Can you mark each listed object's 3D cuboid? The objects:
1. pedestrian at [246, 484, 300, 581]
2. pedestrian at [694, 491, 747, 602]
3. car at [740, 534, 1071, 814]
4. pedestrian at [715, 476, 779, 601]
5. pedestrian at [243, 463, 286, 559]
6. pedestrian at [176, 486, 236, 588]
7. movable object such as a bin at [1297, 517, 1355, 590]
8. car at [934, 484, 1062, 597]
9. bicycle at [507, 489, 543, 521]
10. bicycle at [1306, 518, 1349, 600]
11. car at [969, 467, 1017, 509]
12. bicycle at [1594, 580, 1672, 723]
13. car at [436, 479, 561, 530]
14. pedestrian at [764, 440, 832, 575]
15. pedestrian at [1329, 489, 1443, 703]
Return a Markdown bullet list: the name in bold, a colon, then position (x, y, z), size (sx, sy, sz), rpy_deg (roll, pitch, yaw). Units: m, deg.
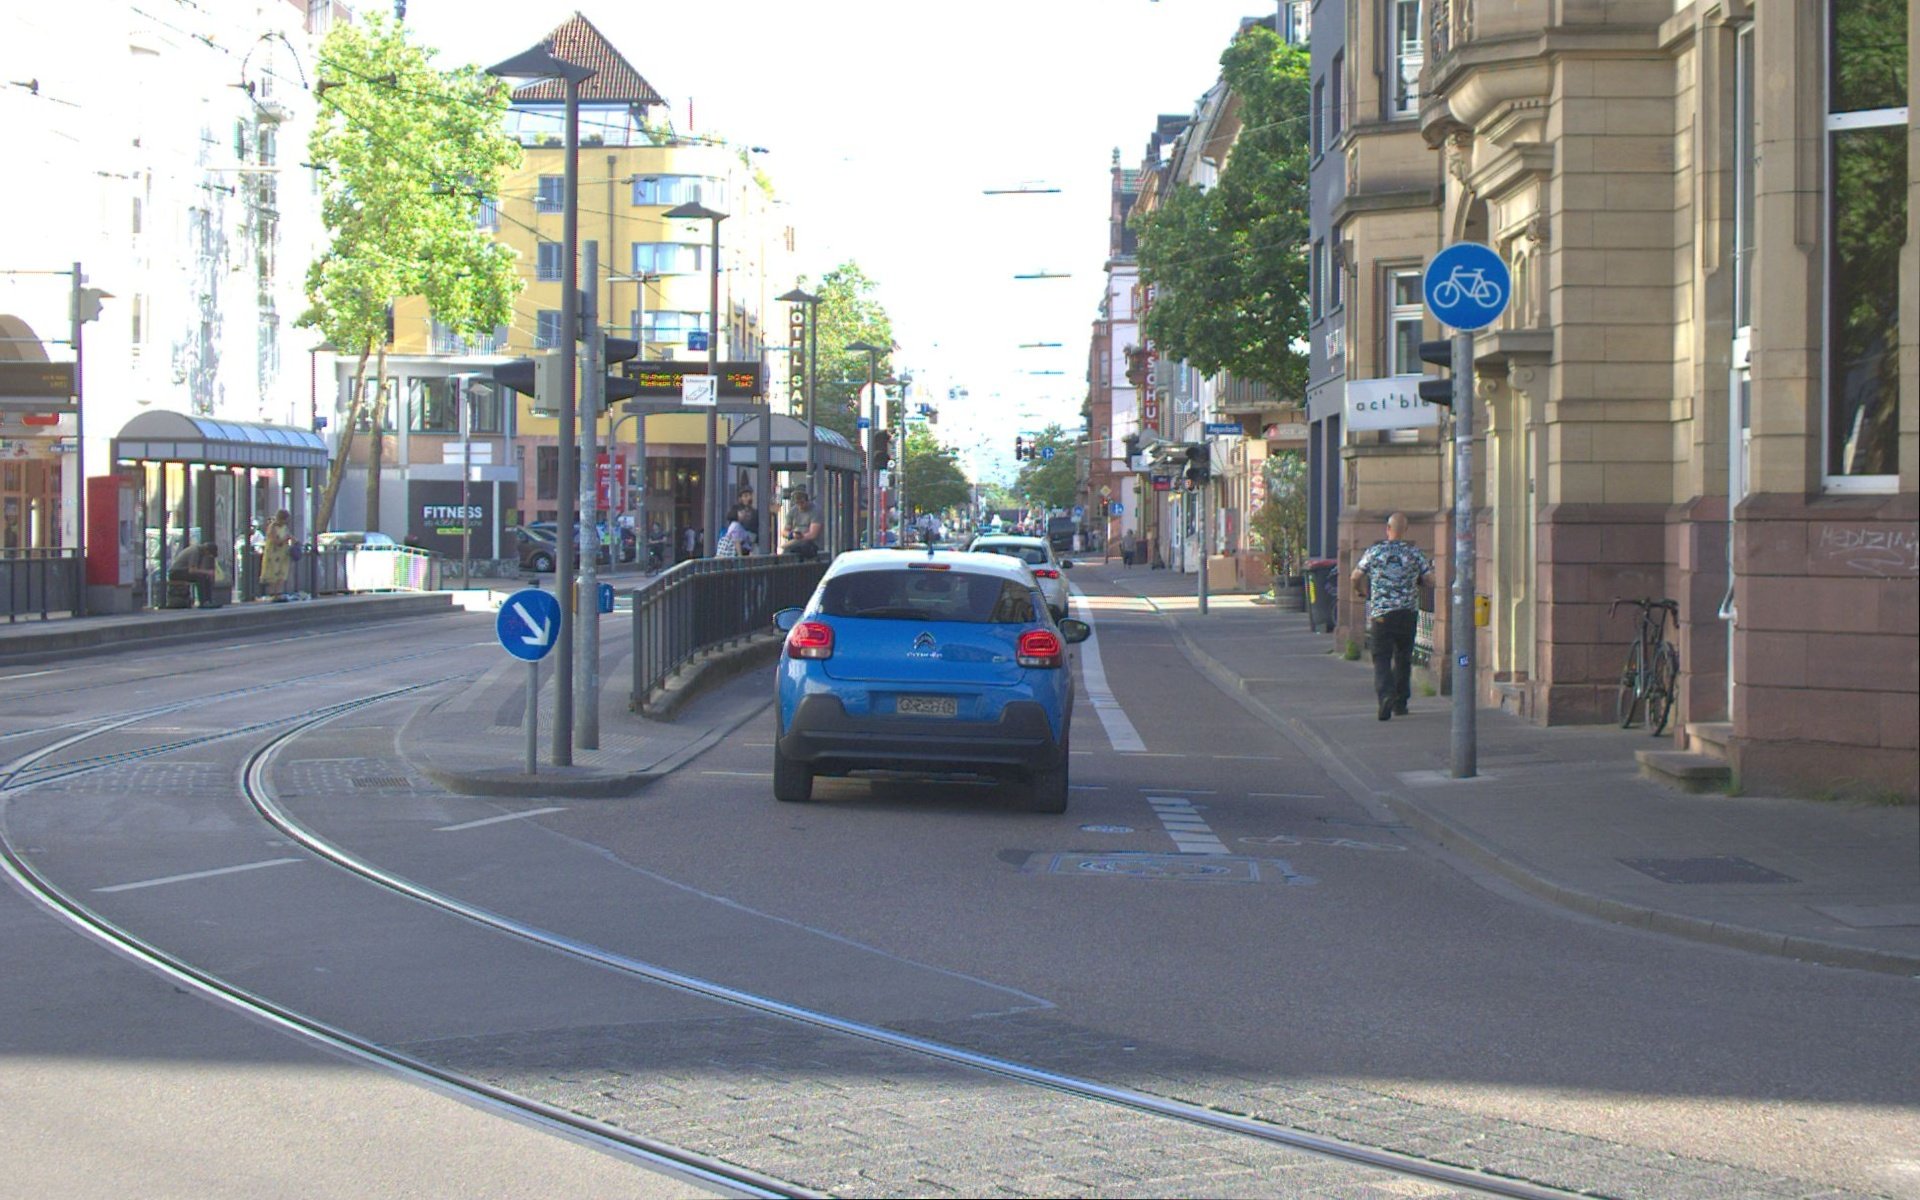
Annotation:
- **pedestrian**: position (-11.210, -1.102, 56.117), size (0.731, 1.553, 0.743), rpy_deg (1, 2, 0)
- **pedestrian**: position (-3.377, -0.755, 48.529), size (0.586, 1.556, 0.469), rpy_deg (1, 2, 37)
- **car**: position (-0.251, 0.375, 20.801), size (1.781, 1.446, 3.654), rpy_deg (2, 2, 2)
- **pedestrian**: position (-3.044, -0.879, 49.045), size (0.718, 1.771, 0.564), rpy_deg (1, 2, 37)
- **pedestrian**: position (-14.652, -1.873, 72.468), size (0.669, 2.007, 0.708), rpy_deg (2, 0, 3)
- **pedestrian**: position (-11.417, -0.956, 52.072), size (0.731, 1.522, 0.743), rpy_deg (1, 2, 0)
- **movable object such as a bin**: position (5.434, -0.696, 51.013), size (0.748, 1.033, 0.753), rpy_deg (-3, 1, 2)
- **car**: position (0.658, -0.977, 56.800), size (1.993, 1.737, 4.000), rpy_deg (2, 1, 2)
- **bicycle**: position (-13.653, -2.991, 107.998), size (0.679, 0.999, 2.686), rpy_deg (1, 2, 2)
- **bicycle**: position (5.170, -0.588, 48.419), size (0.459, 1.119, 1.773), rpy_deg (-1, 1, 2)
- **car**: position (1.483, -5.005, 153.833), size (1.993, 1.737, 4.000), rpy_deg (2, 1, 2)
- **bicycle**: position (5.185, 0.378, 26.540), size (0.255, 1.049, 1.769), rpy_deg (2, 1, 1)
- **car**: position (-15.569, -3.244, 116.096), size (3.986, 1.669, 1.958), rpy_deg (1, 2, -2)
- **pedestrian**: position (-2.073, -1.181, 44.131), size (0.636, 1.692, 0.933), rpy_deg (2, 1, 9)
- **pedestrian**: position (3.618, -0.049, 29.269), size (0.780, 1.743, 1.093), rpy_deg (1, 3, -1)
